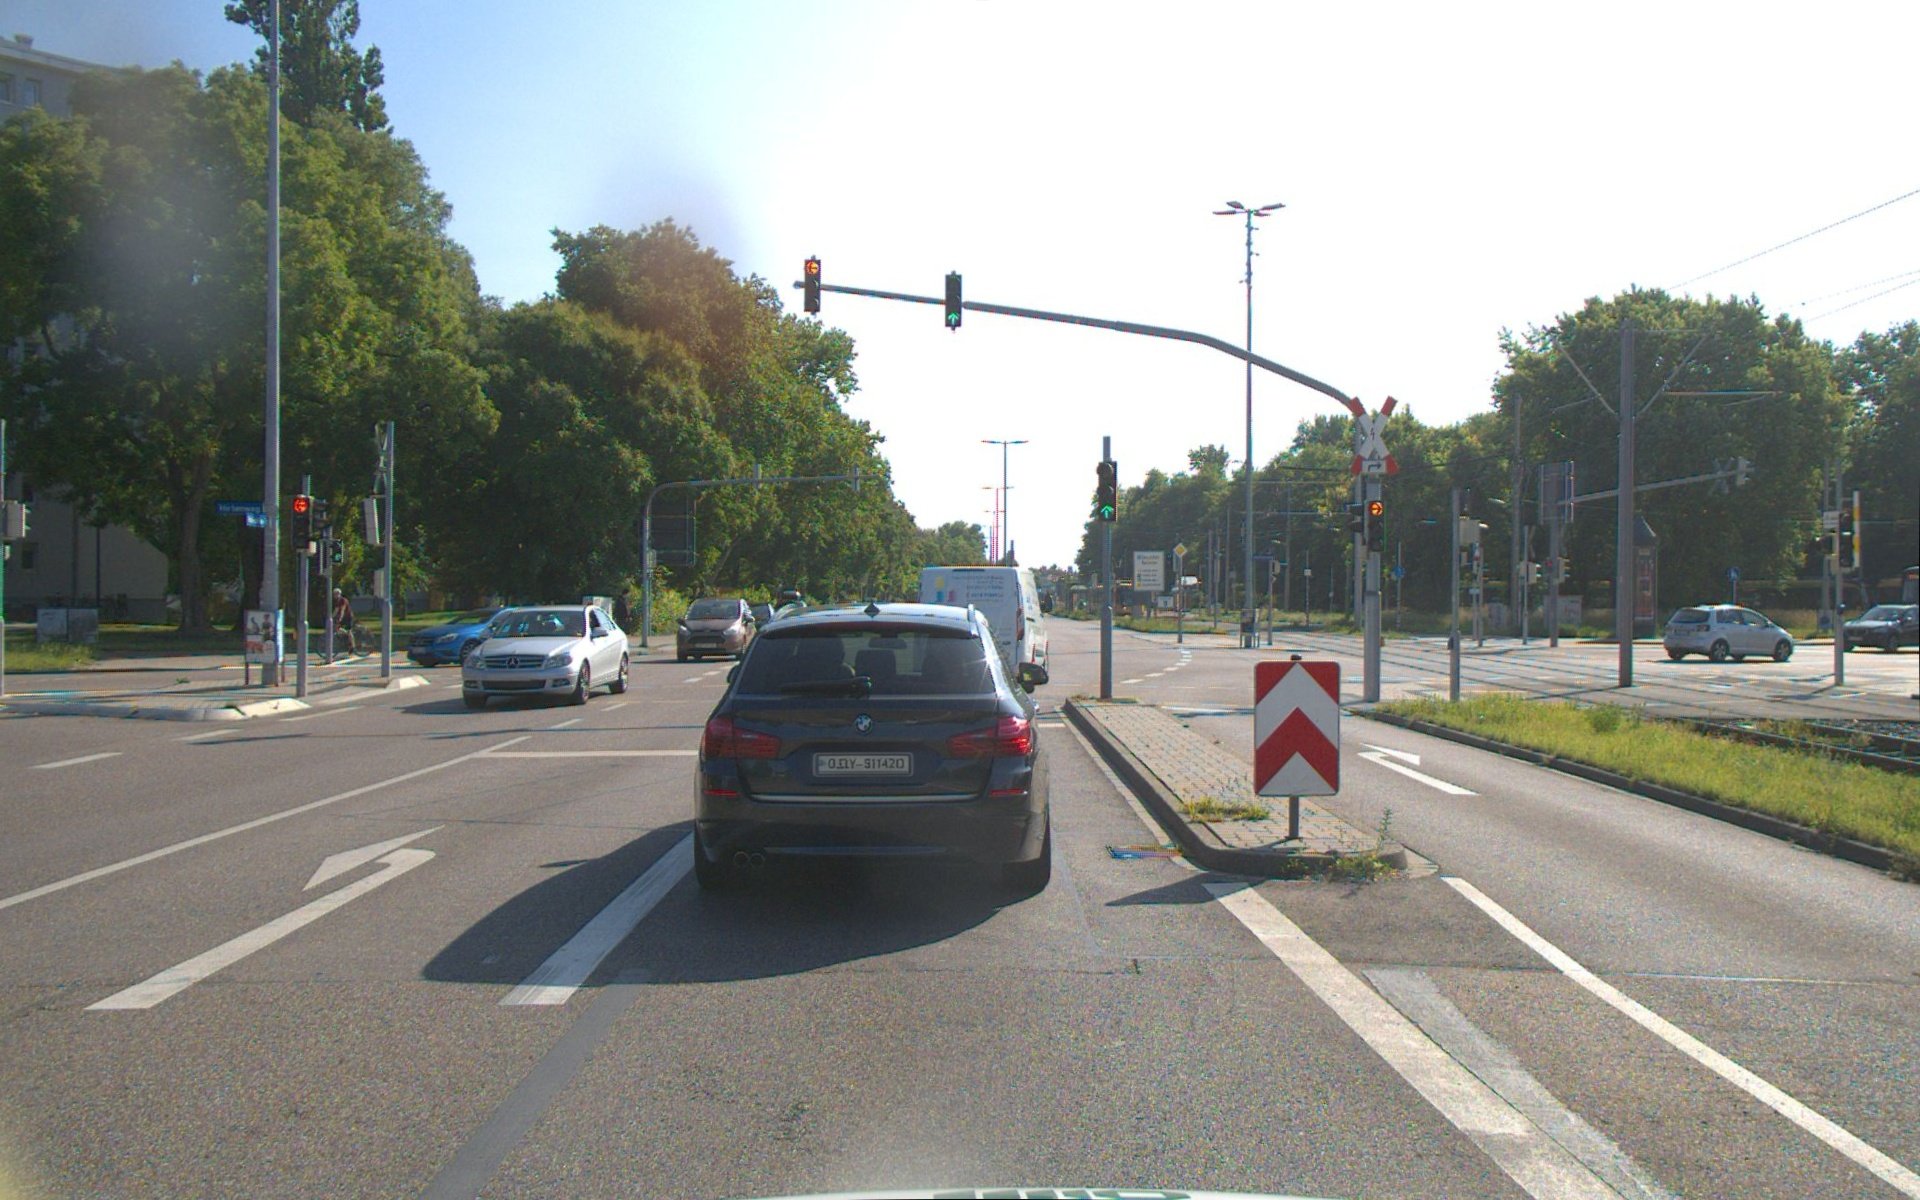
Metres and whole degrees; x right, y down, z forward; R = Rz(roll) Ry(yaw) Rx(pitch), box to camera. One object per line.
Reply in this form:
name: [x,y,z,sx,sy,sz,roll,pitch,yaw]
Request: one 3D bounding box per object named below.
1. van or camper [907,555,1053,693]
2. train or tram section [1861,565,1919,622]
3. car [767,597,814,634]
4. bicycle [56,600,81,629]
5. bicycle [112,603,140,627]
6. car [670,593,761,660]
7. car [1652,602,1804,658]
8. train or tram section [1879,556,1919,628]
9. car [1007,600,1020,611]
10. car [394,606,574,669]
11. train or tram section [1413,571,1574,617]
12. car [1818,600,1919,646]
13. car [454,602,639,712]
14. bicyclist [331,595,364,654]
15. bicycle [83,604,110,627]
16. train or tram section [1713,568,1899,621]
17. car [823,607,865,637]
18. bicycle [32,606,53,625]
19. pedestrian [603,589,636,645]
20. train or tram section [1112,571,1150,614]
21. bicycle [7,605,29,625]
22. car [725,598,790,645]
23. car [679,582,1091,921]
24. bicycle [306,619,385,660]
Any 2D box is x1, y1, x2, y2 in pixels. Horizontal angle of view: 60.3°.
van or camper: [0.433,0.366,27.852,1.951,2.133,4.602,0,0,7]
train or tram section: [63.706,-0.422,108.120,2.981,3.642,12.231,0,0,0]
car: [-7.254,0.652,71.012,1.753,1.547,3.998,-1,0,-3]
bicycle: [-35.060,0.571,65.045,0.606,1.085,1.892,1,-2,-37]
bicycle: [-33.496,0.602,66.411,0.663,0.936,2.377,0,0,-35]
car: [-6.215,0.654,42.396,1.709,1.589,4.000,-2,0,0]
car: [22.735,0.850,48.963,4.135,1.590,1.842,0,0,-24]
train or tram section: [52.773,-0.402,87.232,11.721,3.642,3.015,0,0,-37]
car: [7.010,0.701,216.412,1.756,1.512,3.900,0,0,1]
car: [-11.699,0.886,40.918,1.747,1.439,4.234,0,0,32]
train or tram section: [43.476,-0.494,135.114,12.170,3.642,3.047,0,0,31]
car: [32.812,0.786,58.566,4.792,1.590,2.025,0,0,-29]
car: [-6.251,0.800,25.492,1.667,1.491,4.370,-1,0,1]
bicyclist: [-16.633,0.656,44.945,0.596,1.588,0.601,0,0,34]
bicycle: [-34.365,0.600,65.787,0.668,0.891,2.455,0,0,-35]
train or tram section: [60.886,-0.392,119.520,3.017,3.642,12.087,0,0,-34]
car: [-6.781,1.268,97.087,1.947,1.688,4.386,0,0,3]
bicycle: [-35.906,0.604,64.697,0.501,0.721,2.090,0,0,-35]
pedestrian: [-11.105,0.546,54.007,0.798,1.782,0.932,0,0,5]
train or tram section: [15.535,-0.602,151.184,2.738,3.682,12.960,1,-1,3]
bicycle: [-36.627,0.582,64.292,0.578,0.721,2.211,0,0,-35]
car: [-6.836,0.709,56.128,1.851,1.500,4.098,-1,0,-3]
car: [-0.369,0.687,9.542,1.864,1.532,4.064,0,0,-1]
bicycle: [-16.665,1.071,44.915,0.609,1.058,2.065,0,0,34]
